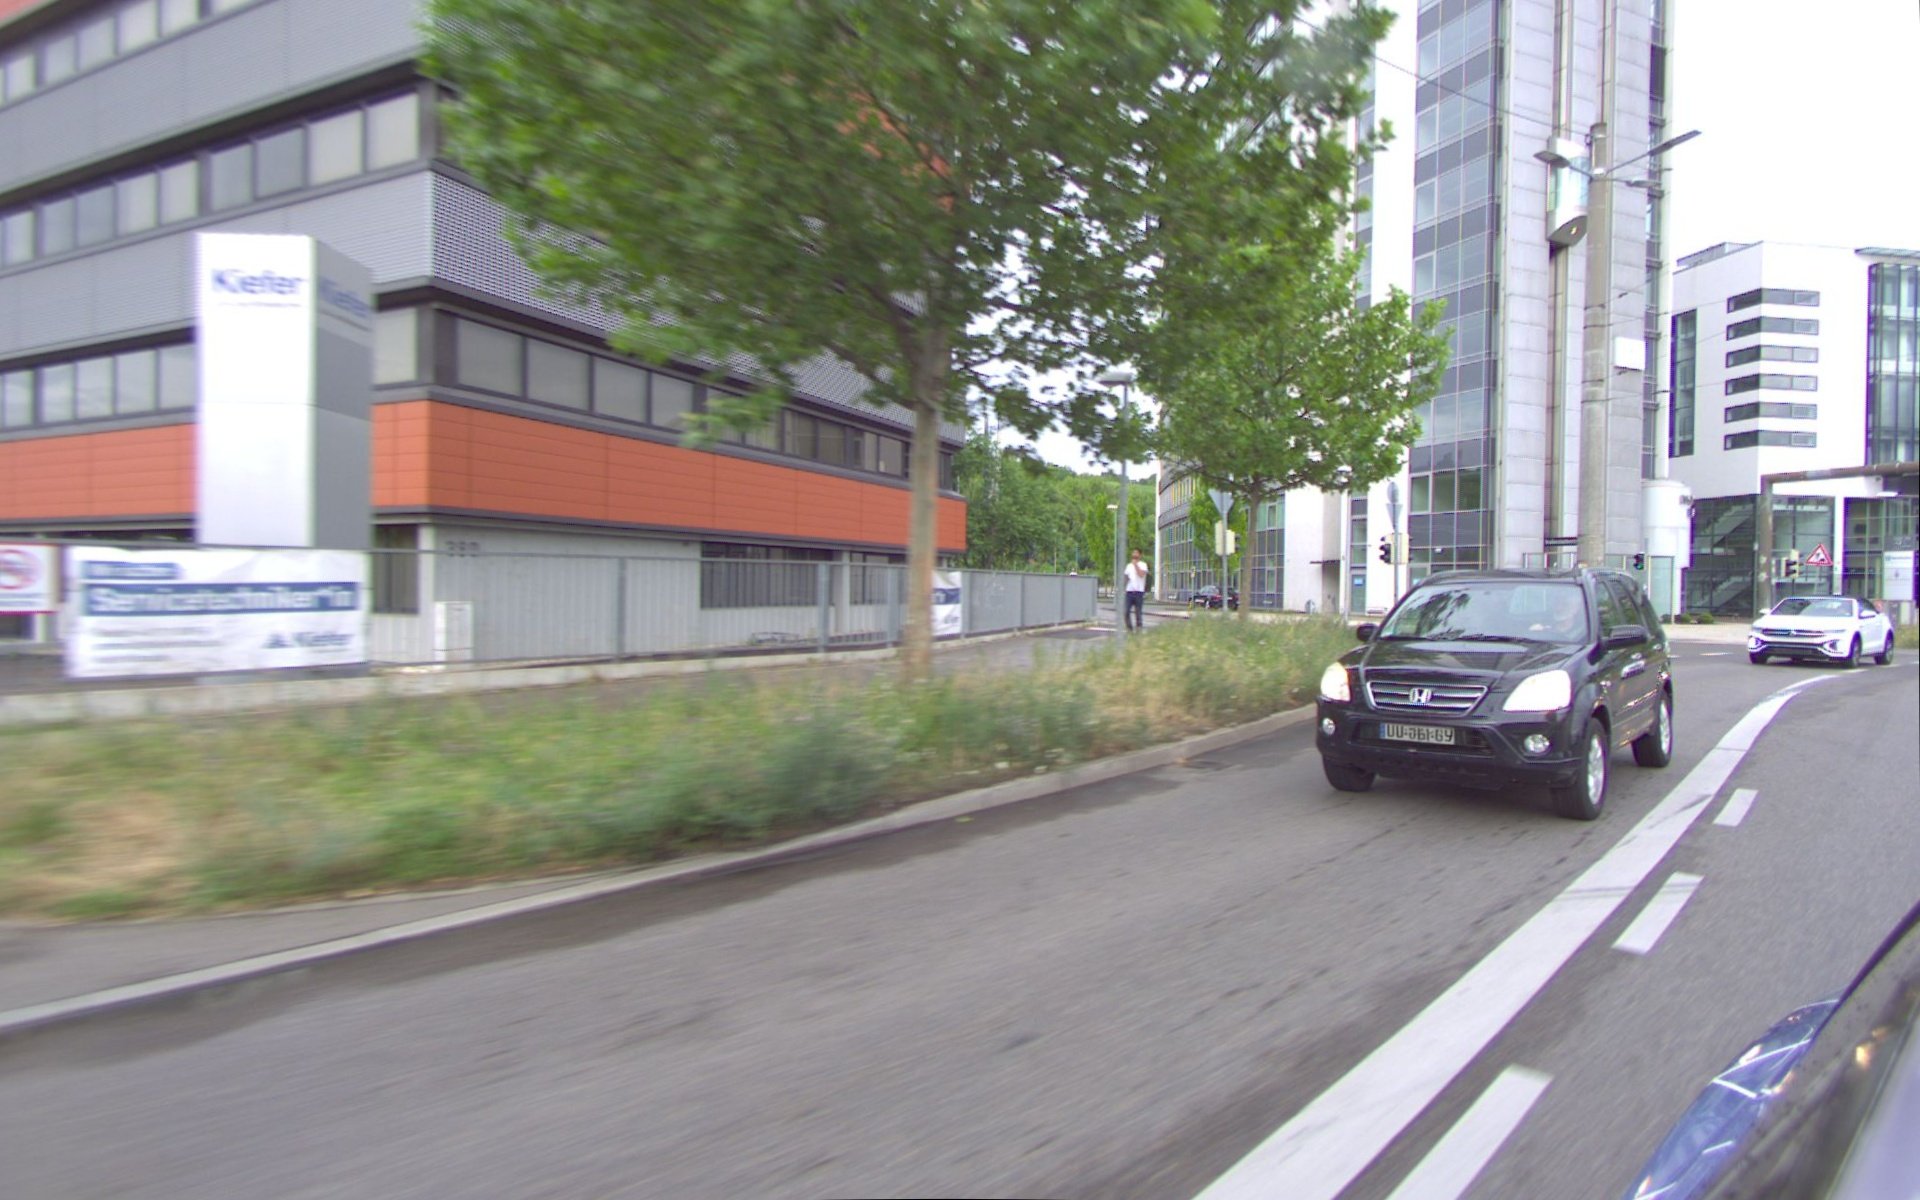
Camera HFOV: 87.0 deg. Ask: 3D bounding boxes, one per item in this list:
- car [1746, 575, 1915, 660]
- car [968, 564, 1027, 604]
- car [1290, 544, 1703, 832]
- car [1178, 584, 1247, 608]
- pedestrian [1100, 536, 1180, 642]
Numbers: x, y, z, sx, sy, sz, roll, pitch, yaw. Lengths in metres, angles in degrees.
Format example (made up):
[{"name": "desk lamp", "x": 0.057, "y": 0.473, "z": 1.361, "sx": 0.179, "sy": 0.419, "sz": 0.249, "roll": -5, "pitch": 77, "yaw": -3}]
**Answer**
[{"name": "car", "x": 18.928, "y": 0.332, "z": 21.978, "sx": 3.750, "sy": 1.699, "sz": 2.000, "roll": 0, "pitch": 1, "yaw": -36}, {"name": "car", "x": 1.979, "y": -0.828, "z": 55.010, "sx": 1.959, "sy": 1.940, "sz": 5.091, "roll": 4, "pitch": -1, "yaw": -11}, {"name": "car", "x": 4.412, "y": 0.504, "z": 7.973, "sx": 1.765, "sy": 1.651, "sz": 4.256, "roll": -1, "pitch": -1, "yaw": 44}, {"name": "car", "x": 14.861, "y": -0.240, "z": 59.802, "sx": 1.861, "sy": 1.330, "sz": 4.333, "roll": -1, "pitch": 0, "yaw": -19}, {"name": "pedestrian", "x": 3.764, "y": -0.238, "z": 21.200, "sx": 1.196, "sy": 2.152, "sz": 1.150, "roll": 0, "pitch": 1, "yaw": -20}]
